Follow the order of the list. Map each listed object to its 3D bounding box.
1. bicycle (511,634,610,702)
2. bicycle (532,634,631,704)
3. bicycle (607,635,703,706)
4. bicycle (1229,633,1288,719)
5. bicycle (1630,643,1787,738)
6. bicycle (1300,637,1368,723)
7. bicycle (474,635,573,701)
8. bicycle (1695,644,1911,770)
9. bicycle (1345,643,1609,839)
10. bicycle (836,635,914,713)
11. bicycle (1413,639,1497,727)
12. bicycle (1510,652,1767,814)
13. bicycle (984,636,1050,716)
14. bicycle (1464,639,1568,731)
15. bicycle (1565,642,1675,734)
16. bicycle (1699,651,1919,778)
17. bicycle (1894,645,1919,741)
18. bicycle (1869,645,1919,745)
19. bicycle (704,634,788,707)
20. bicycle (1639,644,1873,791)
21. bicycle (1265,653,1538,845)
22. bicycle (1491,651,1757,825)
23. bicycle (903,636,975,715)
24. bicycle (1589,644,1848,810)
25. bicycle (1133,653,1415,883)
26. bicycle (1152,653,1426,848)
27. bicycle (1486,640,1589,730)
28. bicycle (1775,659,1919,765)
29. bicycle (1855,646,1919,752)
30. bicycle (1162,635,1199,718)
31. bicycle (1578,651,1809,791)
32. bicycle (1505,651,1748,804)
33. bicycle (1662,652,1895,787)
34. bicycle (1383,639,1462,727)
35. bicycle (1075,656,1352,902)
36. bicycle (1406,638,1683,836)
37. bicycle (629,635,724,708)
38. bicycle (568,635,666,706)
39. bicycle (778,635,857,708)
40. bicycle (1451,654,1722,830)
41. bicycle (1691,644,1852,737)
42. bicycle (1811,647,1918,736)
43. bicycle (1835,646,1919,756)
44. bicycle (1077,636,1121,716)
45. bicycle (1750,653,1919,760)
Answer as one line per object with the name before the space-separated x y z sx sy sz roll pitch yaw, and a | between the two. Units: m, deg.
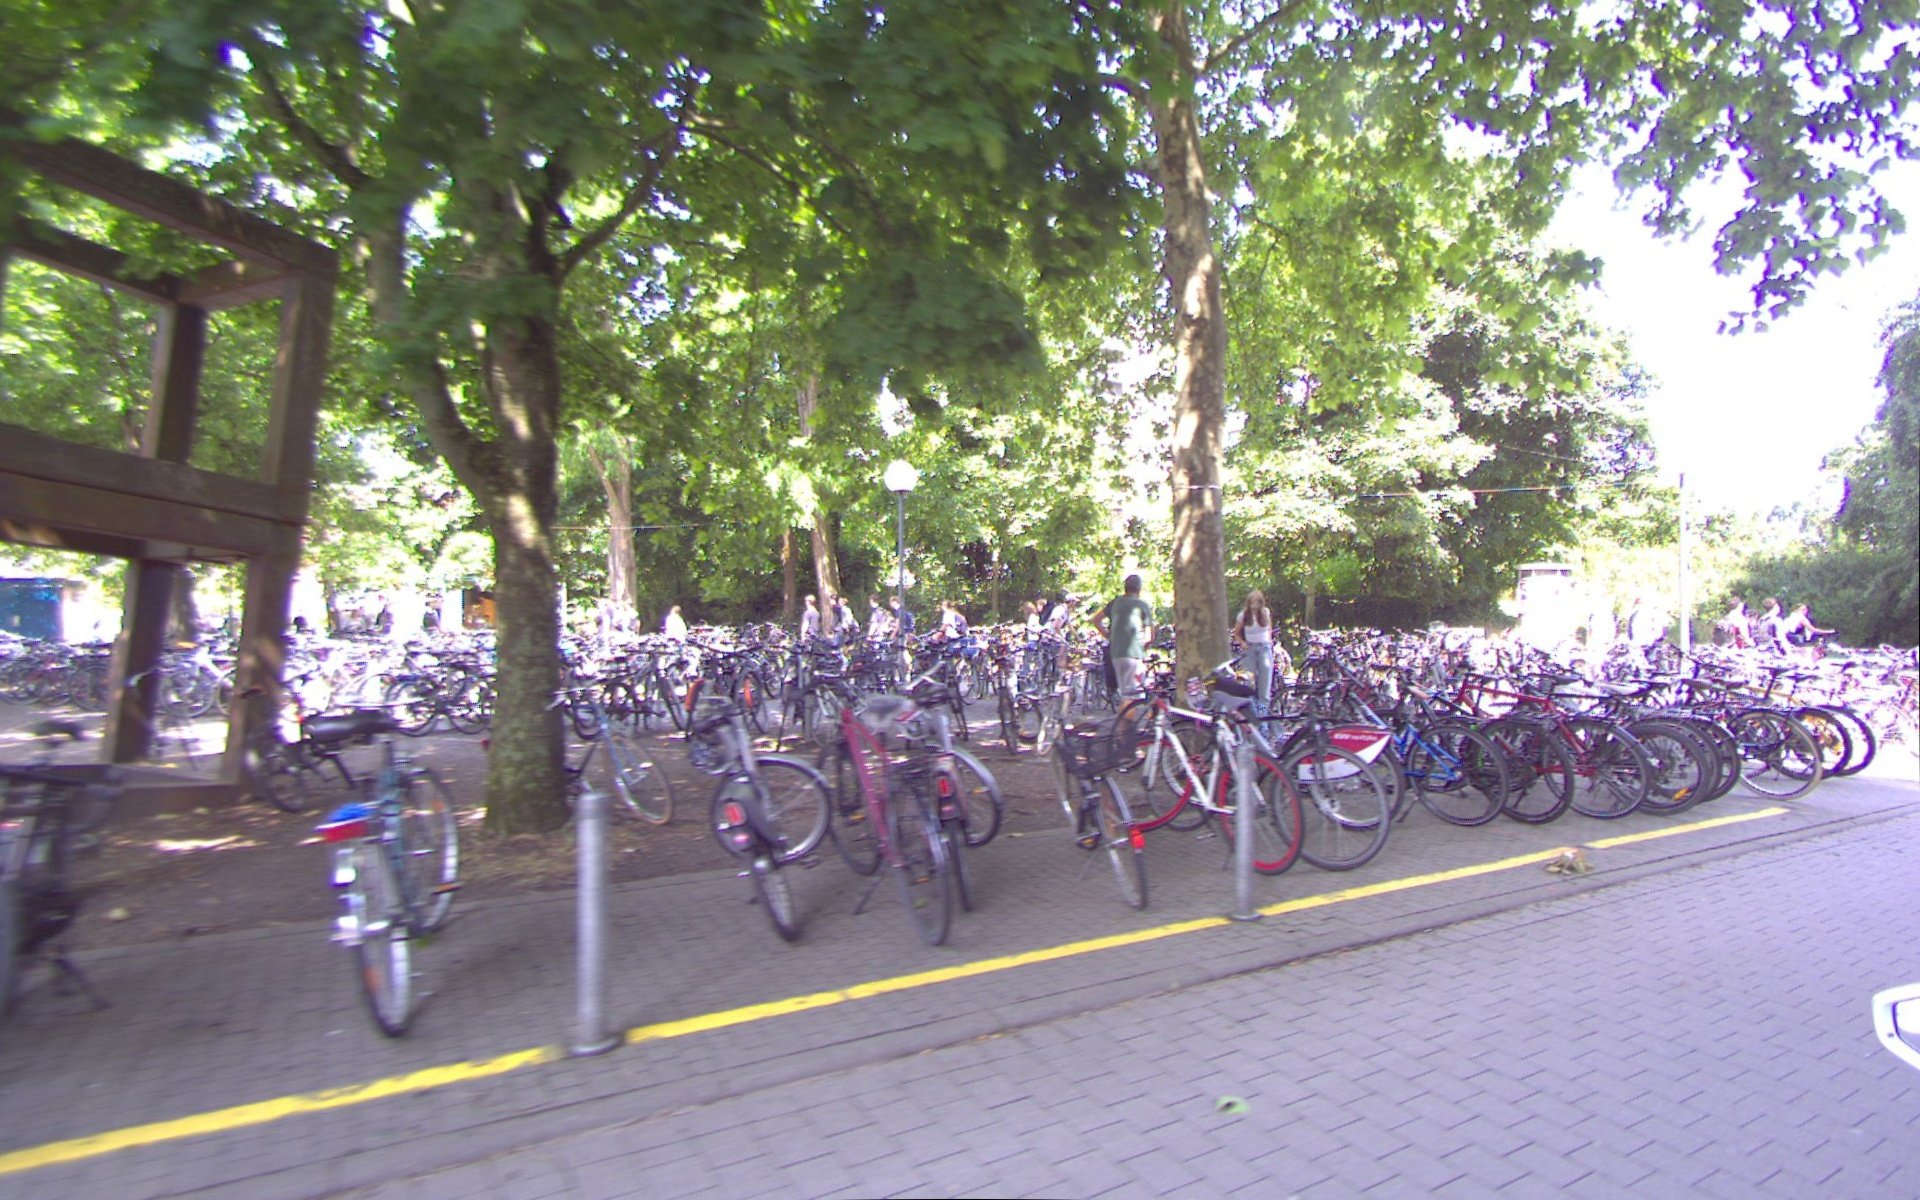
bicycle | -7.017 1.168 17.744 0.465 1.098 1.858 1 0 22
bicycle | -6.555 1.169 17.505 0.465 1.098 1.858 1 0 22
bicycle | -5.111 1.155 16.954 0.465 1.098 1.858 1 0 22
bicycle | 4.212 1.039 14.270 0.464 1.098 1.700 1 0 5
bicycle | 9.710 1.143 13.102 0.466 1.098 1.693 1 0 -16
bicycle | 5.303 1.097 14.312 0.464 1.098 1.700 1 0 5
bicycle | -7.910 1.212 18.299 0.465 1.098 1.858 1 0 22
bicycle | 8.779 1.082 10.544 1.670 1.173 0.473 1 0 33
bicycle | 3.710 0.949 7.365 0.491 1.194 1.726 1 0 -30
bicycle | -1.282 1.108 15.474 0.465 1.098 1.699 1 0 22
bicycle | 6.901 1.124 14.082 0.464 1.098 1.700 1 0 5
bicycle | 5.510 1.030 8.242 0.470 1.123 1.679 1 0 -41
bicycle | 0.885 1.122 15.251 0.465 1.098 1.699 1 0 22
bicycle | 7.407 1.094 13.460 0.465 1.098 1.700 1 0 1
bicycle | 8.774 1.137 13.422 0.464 1.098 1.700 1 0 5
bicycle | 8.534 1.117 10.148 1.670 1.123 0.473 1 0 33
bicycle | 12.583 1.176 12.254 0.469 1.184 1.682 1 0 -36
bicycle | 11.873 1.156 11.799 0.466 1.184 1.775 1 0 -17
bicycle | -3.466 1.121 16.416 0.465 1.098 1.699 1 0 22
bicycle | 7.472 1.055 9.499 0.470 1.203 1.679 1 0 -41
bicycle | 3.064 0.980 7.118 0.493 1.123 1.719 1 0 -42
bicycle | 5.172 1.021 7.920 0.470 1.161 1.679 1 0 -41
bicycle | -0.300 1.124 15.402 0.465 1.098 1.699 1 0 22
bicycle | 6.420 1.018 8.585 0.532 1.214 1.681 1 0 -38
bicycle | 1.865 0.944 6.221 0.492 1.141 1.724 1 0 -34
bicycle | 2.218 0.966 6.901 1.712 1.123 0.495 1 0 36
bicycle | 7.899 1.131 13.817 0.465 1.098 1.700 1 0 1
bicycle | 9.718 1.178 10.592 1.667 1.032 0.474 1 0 25
bicycle | 11.300 1.144 11.388 0.471 1.184 1.678 1 0 -42
bicycle | 3.243 1.090 14.701 0.464 1.098 1.700 1 0 14
bicycle | 6.862 1.084 9.467 0.561 1.123 1.679 1 0 -41
bicycle | 5.693 1.041 8.666 0.470 1.123 1.679 1 0 -41
bicycle | 7.914 1.103 9.776 0.578 1.123 1.679 1 0 -41
bicycle | 6.427 1.115 14.033 0.464 1.098 1.700 1 0 5
bicycle | 1.383 0.933 5.828 0.491 1.123 1.727 1 0 -30
bicycle | 4.282 0.937 7.481 0.492 1.252 1.722 1 0 -37
bicycle | -4.656 1.152 16.618 0.465 1.098 1.858 1 0 22
bicycle | -5.803 1.171 17.101 0.465 1.098 1.858 1 0 22
bicycle | -2.301 1.137 16.414 0.465 1.098 1.699 1 0 22
bicycle | 4.719 1.011 7.667 0.493 1.123 1.679 1 0 -40
bicycle | 10.760 1.172 13.399 0.466 1.098 1.693 1 0 -17
bicycle | 12.048 1.188 13.364 1.678 1.098 0.505 1 0 -28
bicycle | 10.827 1.135 11.136 1.676 1.184 0.471 1 0 43
bicycle | 2.118 1.111 15.168 0.464 1.098 1.700 1 0 14
bicycle | 9.834 1.156 11.094 1.667 1.076 0.474 1 0 25
